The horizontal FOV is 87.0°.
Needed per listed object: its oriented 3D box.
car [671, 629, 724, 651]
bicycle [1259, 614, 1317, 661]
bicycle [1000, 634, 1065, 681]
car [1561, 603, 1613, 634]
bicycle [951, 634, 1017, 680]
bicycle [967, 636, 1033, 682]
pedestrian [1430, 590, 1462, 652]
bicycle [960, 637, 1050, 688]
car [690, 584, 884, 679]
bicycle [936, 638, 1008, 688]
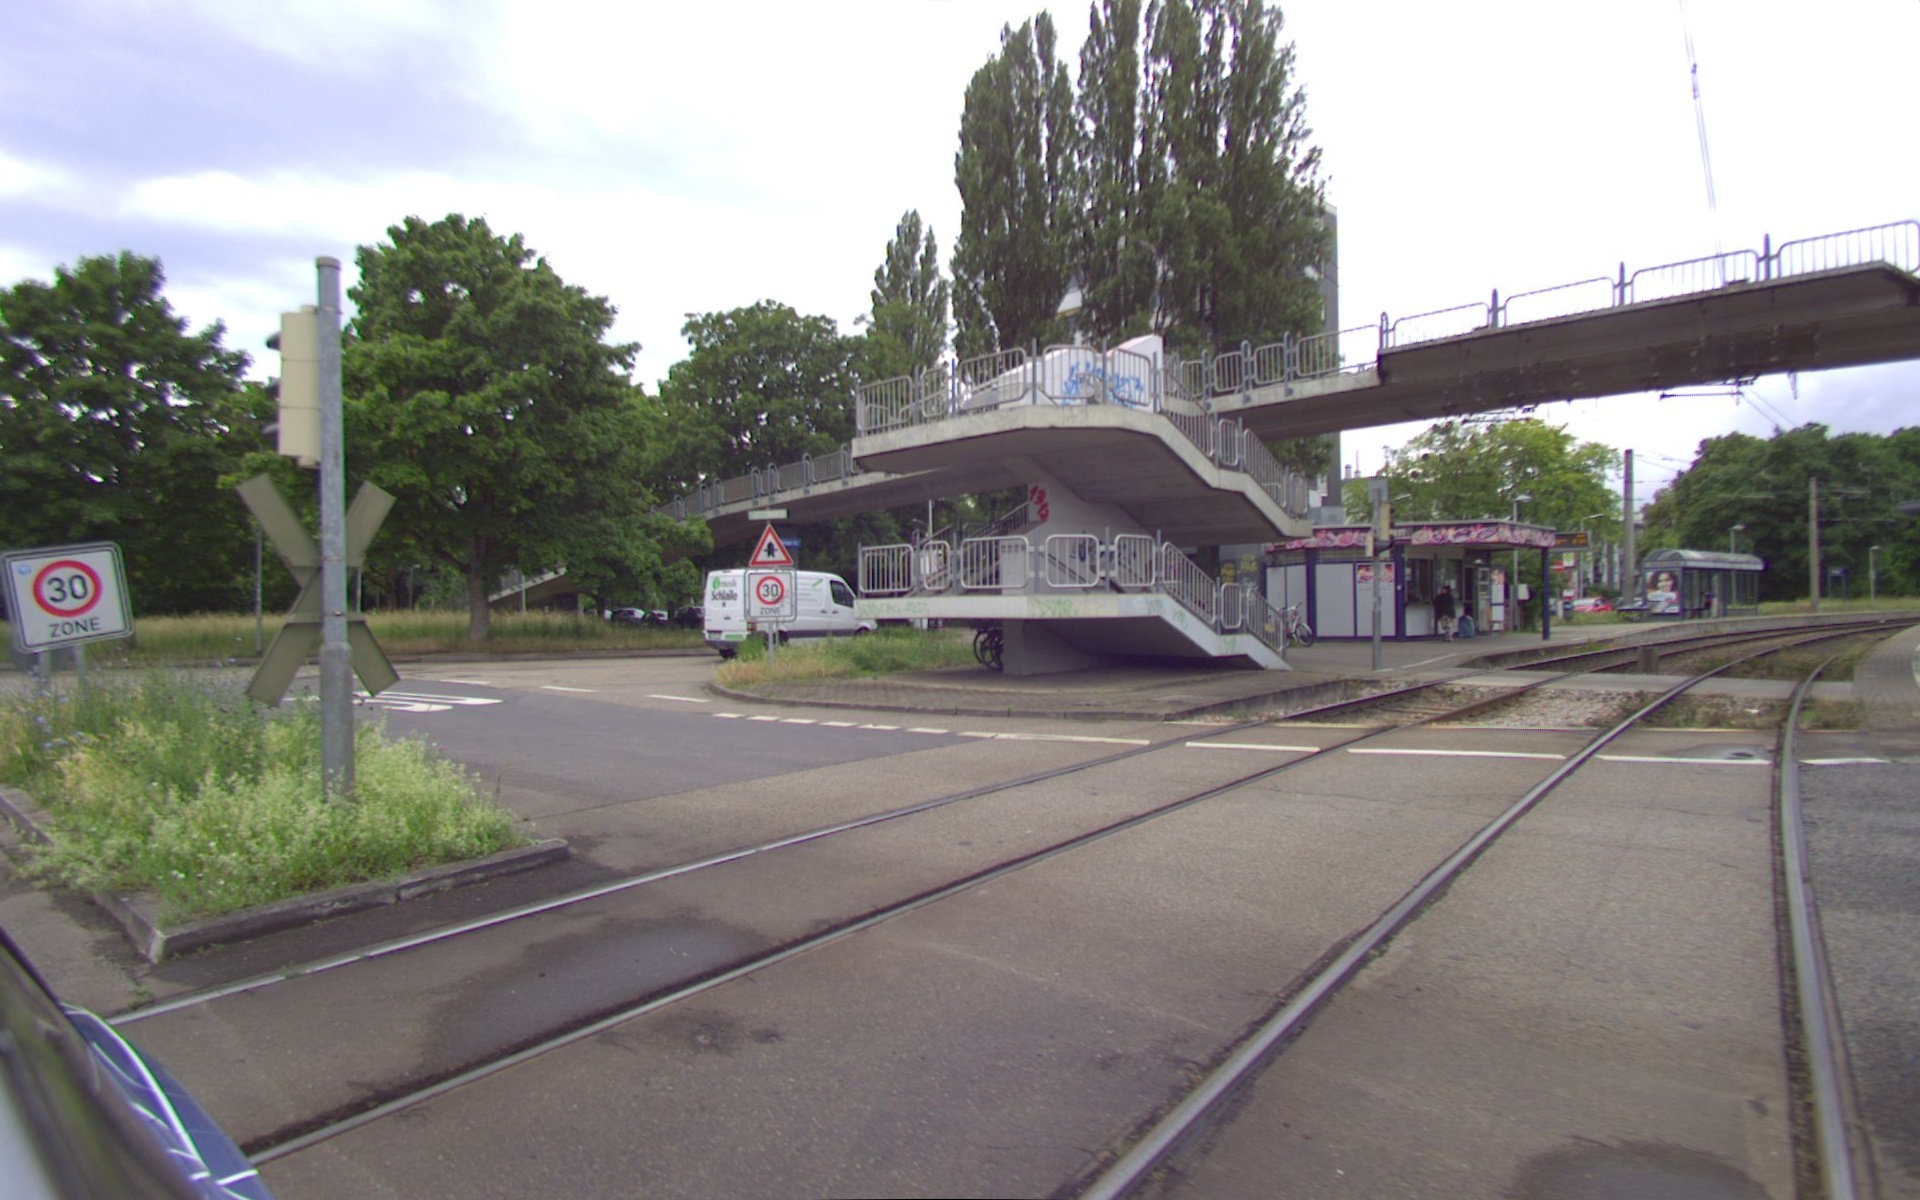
[{"bbox_3d":[-17.067,2.609,65.741,1.668,1.361,4.005,0,-2,-42],"label":"car"},{"bbox_3d":[8.519,0.941,26.198,0.987,1.123,2.764,-3,-2,27],"label":"bicycle"},{"bbox_3d":[1.504,1.178,20.935,0.394,0.892,1.619,-3,-2,43],"label":"bicycle"},{"bbox_3d":[36.994,1.085,59.638,3.940,1.700,1.641,0,-1,-44],"label":"car"},{"bbox_3d":[0.513,1.185,21.271,0.394,0.892,1.619,-3,-2,43],"label":"bicycle"},{"bbox_3d":[0.847,1.209,20.985,0.394,0.892,1.619,-3,-2,43],"label":"bicycle"},{"bbox_3d":[13.452,0.588,27.998,0.542,1.677,0.676,-4,-2,44],"label":"pedestrian"},{"bbox_3d":[0.866,1.178,19.223,1.713,0.892,0.396,-1,-2,-28],"label":"bicycle"},{"bbox_3d":[-4.531,0.788,27.344,2.136,2.310,5.146,-2,-1,35],"label":"car"},{"bbox_3d":[0.244,1.205,19.669,0.394,0.892,1.619,-3,-2,43],"label":"bicycle"}]
